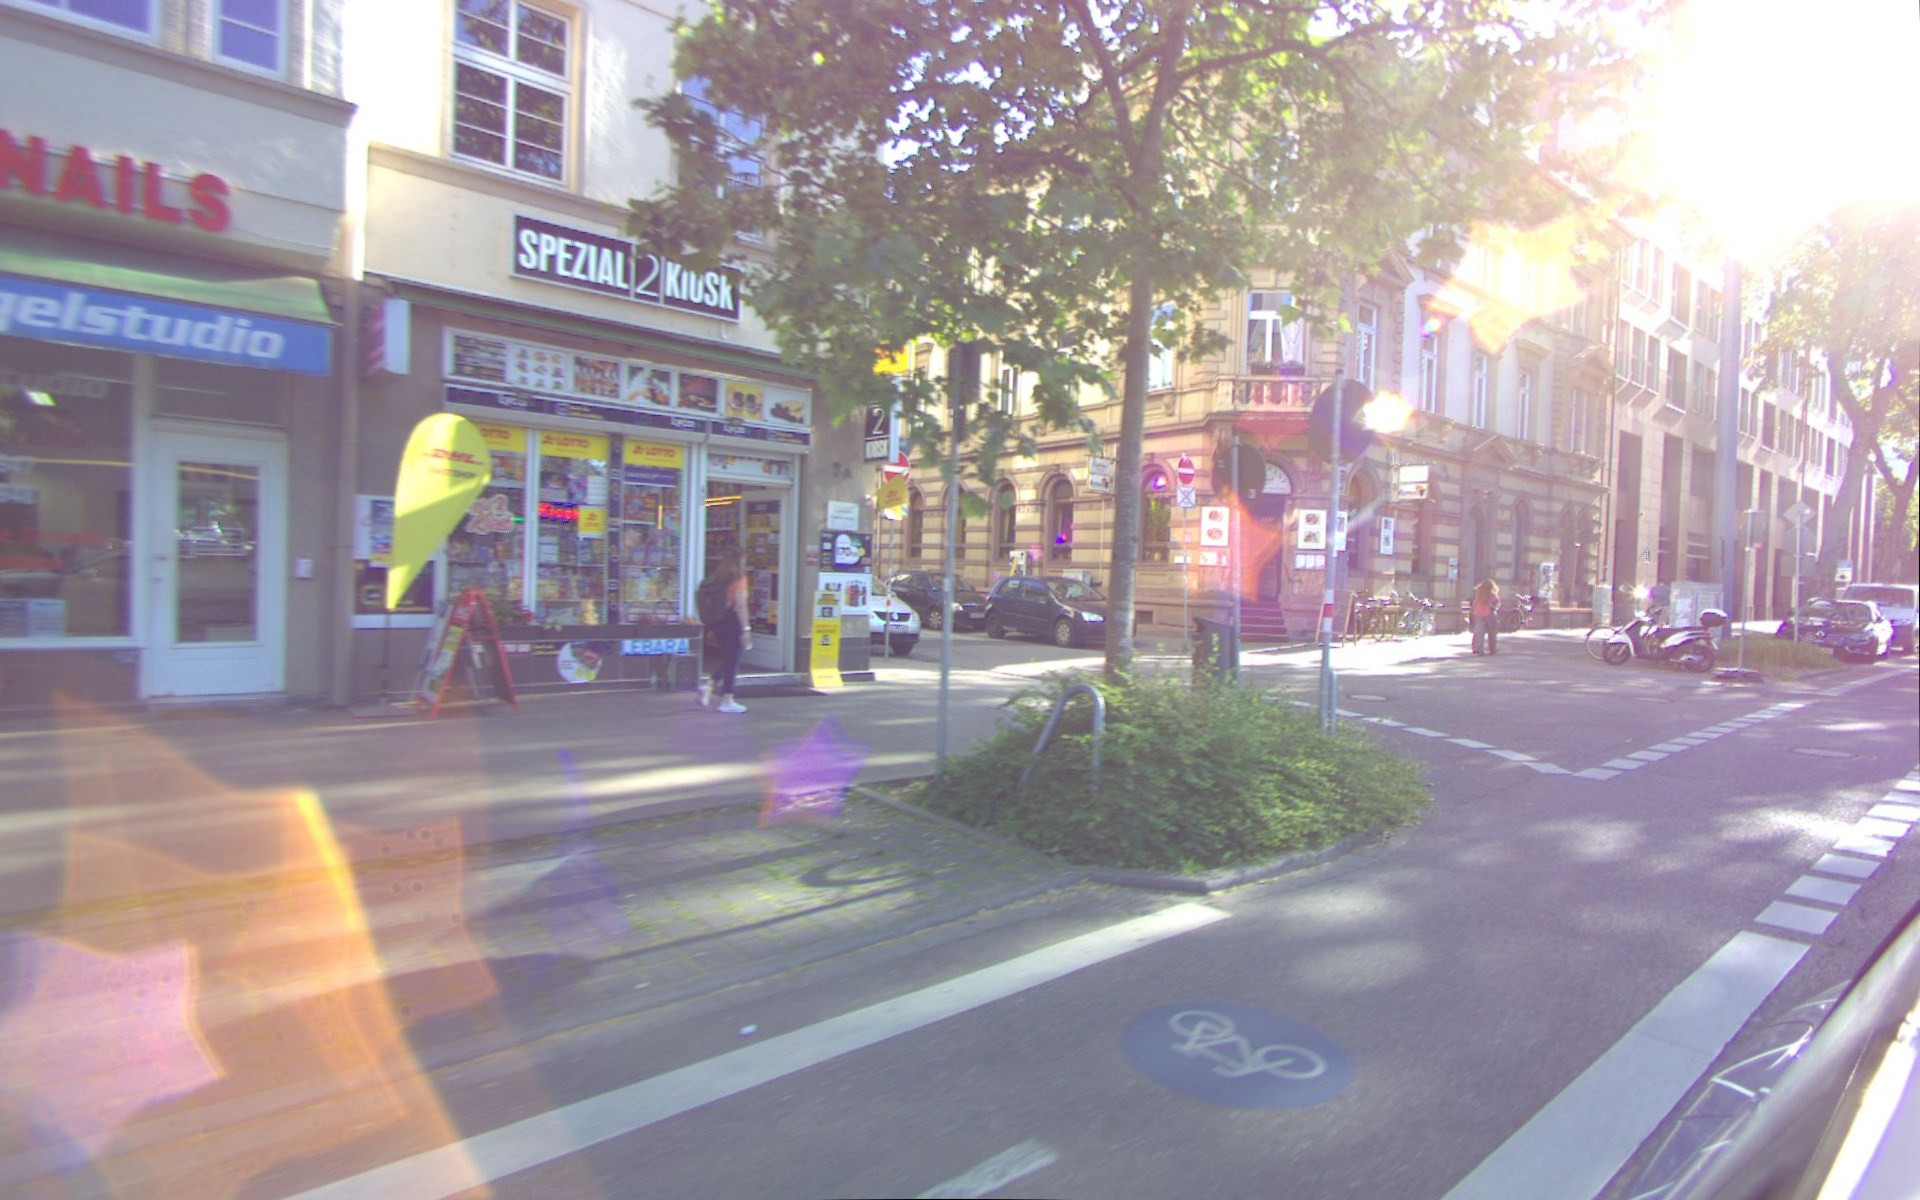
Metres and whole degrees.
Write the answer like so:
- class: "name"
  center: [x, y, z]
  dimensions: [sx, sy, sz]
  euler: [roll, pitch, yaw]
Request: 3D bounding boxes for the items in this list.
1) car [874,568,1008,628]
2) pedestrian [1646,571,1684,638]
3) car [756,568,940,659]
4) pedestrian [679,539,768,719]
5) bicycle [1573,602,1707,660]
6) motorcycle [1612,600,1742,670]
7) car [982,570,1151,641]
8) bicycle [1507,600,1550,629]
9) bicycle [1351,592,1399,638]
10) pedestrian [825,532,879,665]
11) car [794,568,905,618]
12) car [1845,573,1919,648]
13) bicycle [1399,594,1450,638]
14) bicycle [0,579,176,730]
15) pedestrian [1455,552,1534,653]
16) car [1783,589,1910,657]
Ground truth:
- class: "car"
  center: [-0.581, -0.097, 27.059]
  dimensions: [1.668, 1.422, 4.002]
  euler: [0, 2, -34]
- class: "pedestrian"
  center: [19.785, 0.114, 28.397]
  dimensions: [0.878, 1.850, 0.645]
  euler: [0, 0, -37]
- class: "car"
  center: [-2.190, 0.173, 18.851]
  dimensions: [1.635, 1.492, 3.952]
  euler: [1, 1, -36]
- class: "pedestrian"
  center: [-2.261, 0.259, 9.661]
  dimensions: [0.553, 1.642, 0.682]
  euler: [0, 0, -43]
- class: "bicycle"
  center: [13.688, 0.601, 20.443]
  dimensions: [0.447, 1.107, 2.227]
  euler: [0, 0, -39]
- class: "motorcycle"
  center: [13.574, 0.633, 19.216]
  dimensions: [0.507, 1.246, 1.951]
  euler: [0, 0, -43]
- class: "car"
  center: [2.301, 0.075, 22.837]
  dimensions: [1.605, 1.429, 3.923]
  euler: [1, 1, -35]
- class: "bicycle"
  center: [16.685, 0.405, 29.668]
  dimensions: [1.634, 0.783, 0.550]
  euler: [0, 3, -41]
- class: "bicycle"
  center: [9.720, 0.329, 23.680]
  dimensions: [1.700, 1.033, 0.280]
  euler: [0, 3, -41]
- class: "pedestrian"
  center: [-1.609, -0.027, 15.114]
  dimensions: [0.550, 1.928, 0.580]
  euler: [0, 0, 39]
- class: "car"
  center: [-3.496, -0.217, 31.452]
  dimensions: [1.739, 1.460, 4.000]
  euler: [0, 0, -35]
- class: "car"
  center: [27.503, 0.273, 29.578]
  dimensions: [4.641, 2.039, 1.859]
  euler: [0, 0, -41]
- class: "bicycle"
  center: [11.335, 0.375, 24.674]
  dimensions: [1.849, 1.010, 0.415]
  euler: [0, 1, -41]
- class: "bicycle"
  center: [-7.180, 0.383, 7.147]
  dimensions: [2.577, 1.036, 0.491]
  euler: [0, 5, -41]
- class: "pedestrian"
  center: [11.285, 0.034, 21.384]
  dimensions: [1.027, 2.038, 1.091]
  euler: [0, 3, -39]
- class: "car"
  center: [22.023, 0.519, 25.070]
  dimensions: [4.627, 1.534, 1.821]
  euler: [0, 0, -42]
